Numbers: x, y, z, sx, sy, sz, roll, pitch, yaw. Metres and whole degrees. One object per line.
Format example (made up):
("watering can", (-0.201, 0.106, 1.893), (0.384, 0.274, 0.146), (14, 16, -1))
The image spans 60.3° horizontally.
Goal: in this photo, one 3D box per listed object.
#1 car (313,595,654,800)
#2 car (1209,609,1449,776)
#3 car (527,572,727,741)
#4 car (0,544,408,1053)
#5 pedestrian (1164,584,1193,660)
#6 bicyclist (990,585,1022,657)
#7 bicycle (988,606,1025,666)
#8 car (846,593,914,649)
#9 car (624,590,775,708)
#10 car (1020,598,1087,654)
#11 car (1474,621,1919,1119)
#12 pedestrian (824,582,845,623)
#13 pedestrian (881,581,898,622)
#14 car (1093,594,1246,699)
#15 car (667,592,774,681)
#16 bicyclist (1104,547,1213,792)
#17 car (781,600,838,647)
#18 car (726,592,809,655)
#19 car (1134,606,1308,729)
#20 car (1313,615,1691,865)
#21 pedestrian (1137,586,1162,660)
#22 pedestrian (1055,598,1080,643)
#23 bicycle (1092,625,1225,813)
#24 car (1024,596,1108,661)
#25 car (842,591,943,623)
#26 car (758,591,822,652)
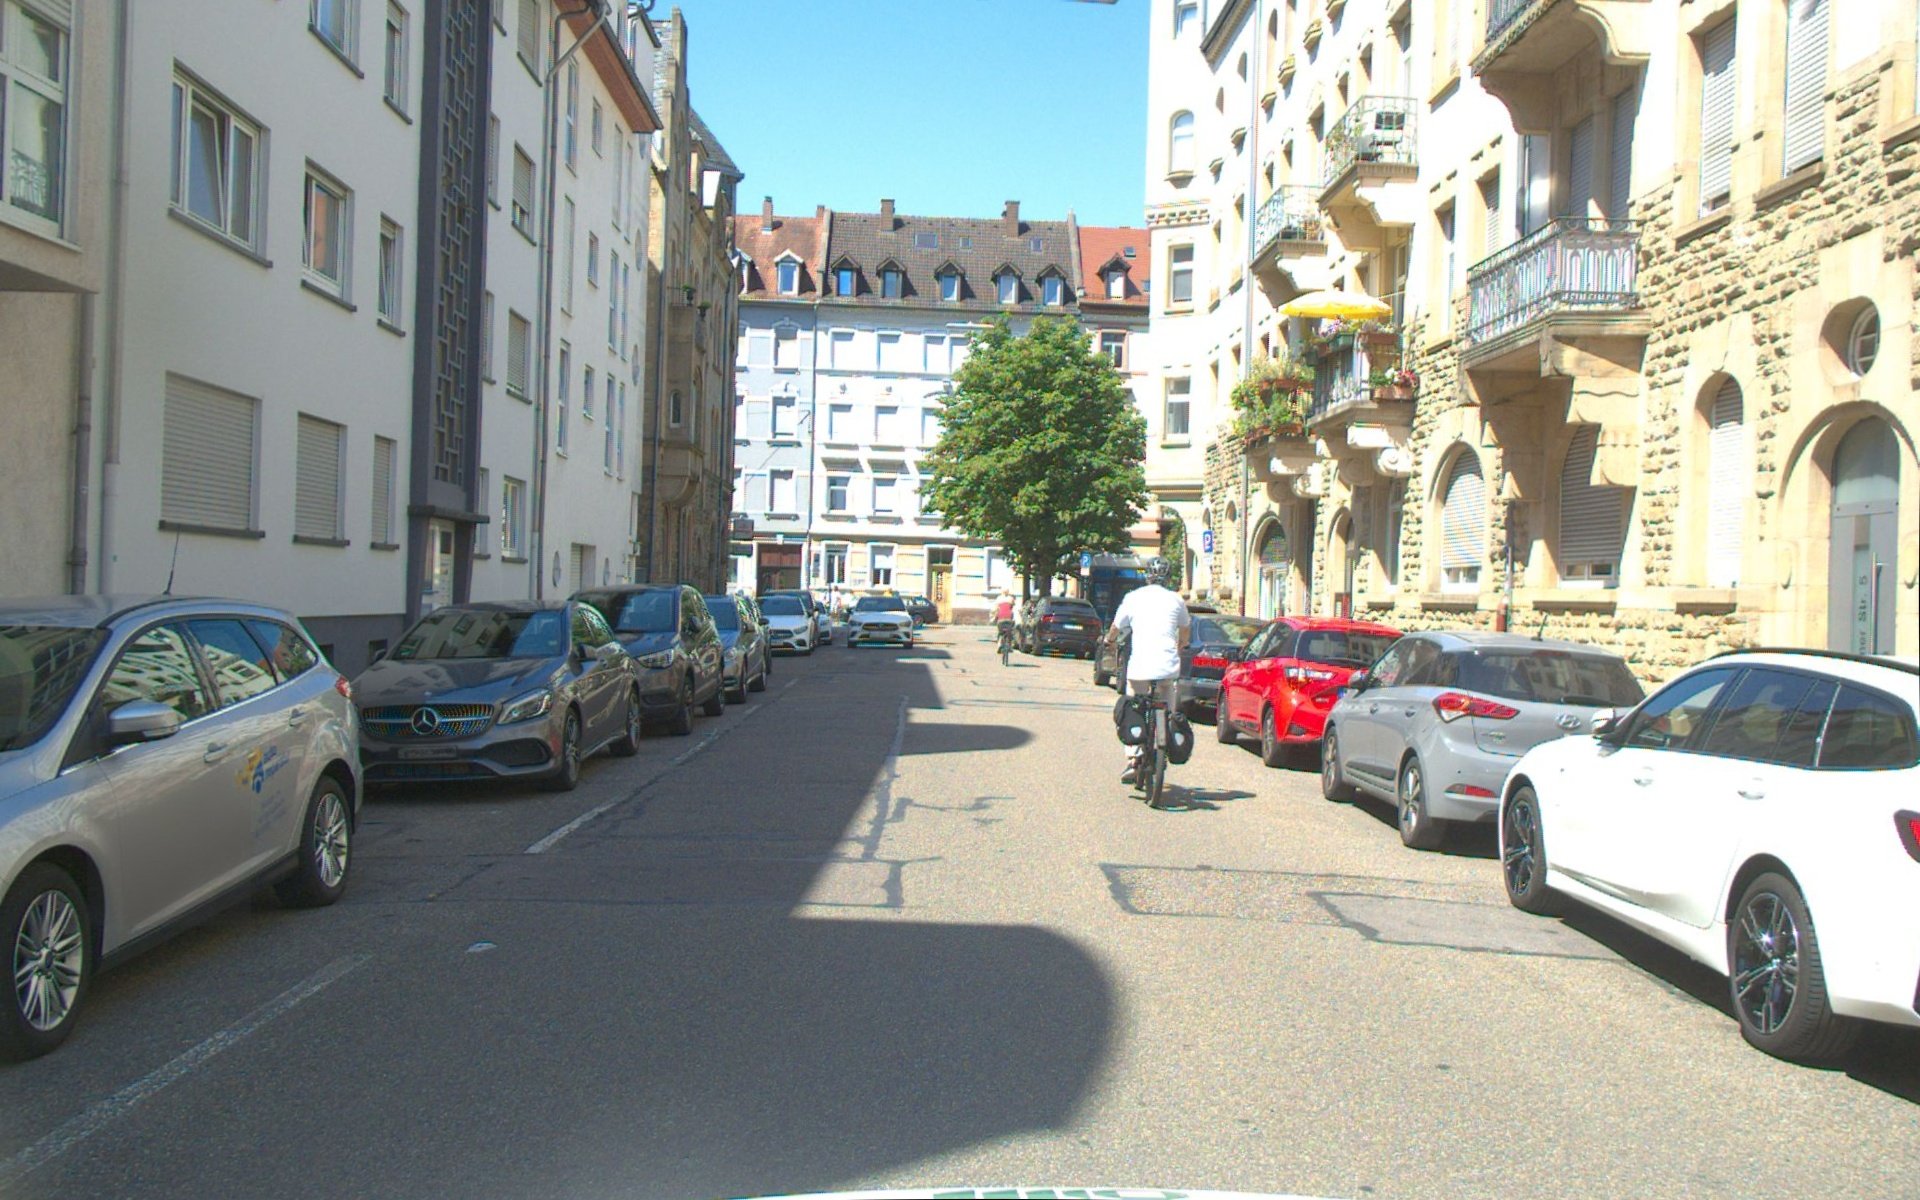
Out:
("car", (-3.765, 0.694, 13.849), (1.729, 1.417, 4.346), (-1, 0, -2))
("car", (3.810, 0.891, 17.674), (1.539, 1.477, 3.841), (4, 0, -2))
("car", (-3.623, 0.571, 18.620), (1.571, 1.673, 3.975), (-1, 0, -2))
("car", (-3.797, 0.619, 6.824), (1.696, 1.521, 4.346), (-1, 0, -2))
("pedestrian", (5.632, 0.564, 42.728), (0.587, 1.913, 0.883), (2, -1, 0))
("bicyclist", (1.007, 0.460, 36.570), (0.657, 1.560, 0.609), (1, -1, -1))
("bicycle", (1.010, 0.775, 36.412), (0.638, 1.230, 2.441), (3, 0, -1))
("car", (-2.226, 0.576, 46.663), (1.804, 1.486, 4.360), (-1, 0, -2))
("car", (-3.700, 0.655, 24.208), (1.623, 1.545, 4.669), (-1, 0, -2))
("car", (2.877, 0.775, 51.494), (1.630, 1.567, 4.176), (4, 0, -2))
("car", (3.829, 0.901, 7.297), (1.681, 1.477, 4.597), (4, 0, 1))
("pedestrian", (-6.069, 0.118, 79.972), (0.832, 1.922, 0.936), (1, -1, 8))
("pedestrian", (-3.327, 0.062, 78.002), (0.712, 1.886, 0.683), (1, -1, -12))
("car", (3.580, 0.751, 29.104), (1.797, 1.594, 4.602), (4, 0, -3))
("car", (-4.353, 0.644, 30.510), (1.535, 1.518, 3.892), (-1, 0, -2))
("bicyclist", (1.509, 0.518, 12.630), (0.657, 1.790, 0.609), (3, -1, -1))
("car", (-4.664, 0.710, 51.627), (1.668, 1.376, 4.511), (-1, 0, -4))
("car", (-4.790, 0.564, 41.625), (1.741, 1.485, 4.277), (-1, 0, -2))
("car", (3.581, 0.879, 23.297), (1.483, 1.422, 3.969), (5, 0, -4))
("car", (3.875, 0.909, 12.493), (1.557, 1.477, 3.856), (4, 0, 1))
("pedestrian", (4.913, 0.597, 42.897), (0.508, 1.901, 0.653), (2, -1, 0))
("pedestrian", (4.113, 0.768, 63.379), (0.840, 1.701, 0.774), (1, -1, -2))
("bicycle", (1.483, 0.846, 12.738), (0.638, 1.250, 2.441), (3, 0, -1))
("car", (2.893, 0.747, 45.837), (1.701, 1.624, 4.344), (4, 0, -4))
("car", (-3.209, 0.334, 79.241), (4.762, 1.462, 1.999), (1, 0, -3))
("car", (-4.747, 0.587, 46.573), (1.639, 1.610, 4.050), (-1, 0, -4))
